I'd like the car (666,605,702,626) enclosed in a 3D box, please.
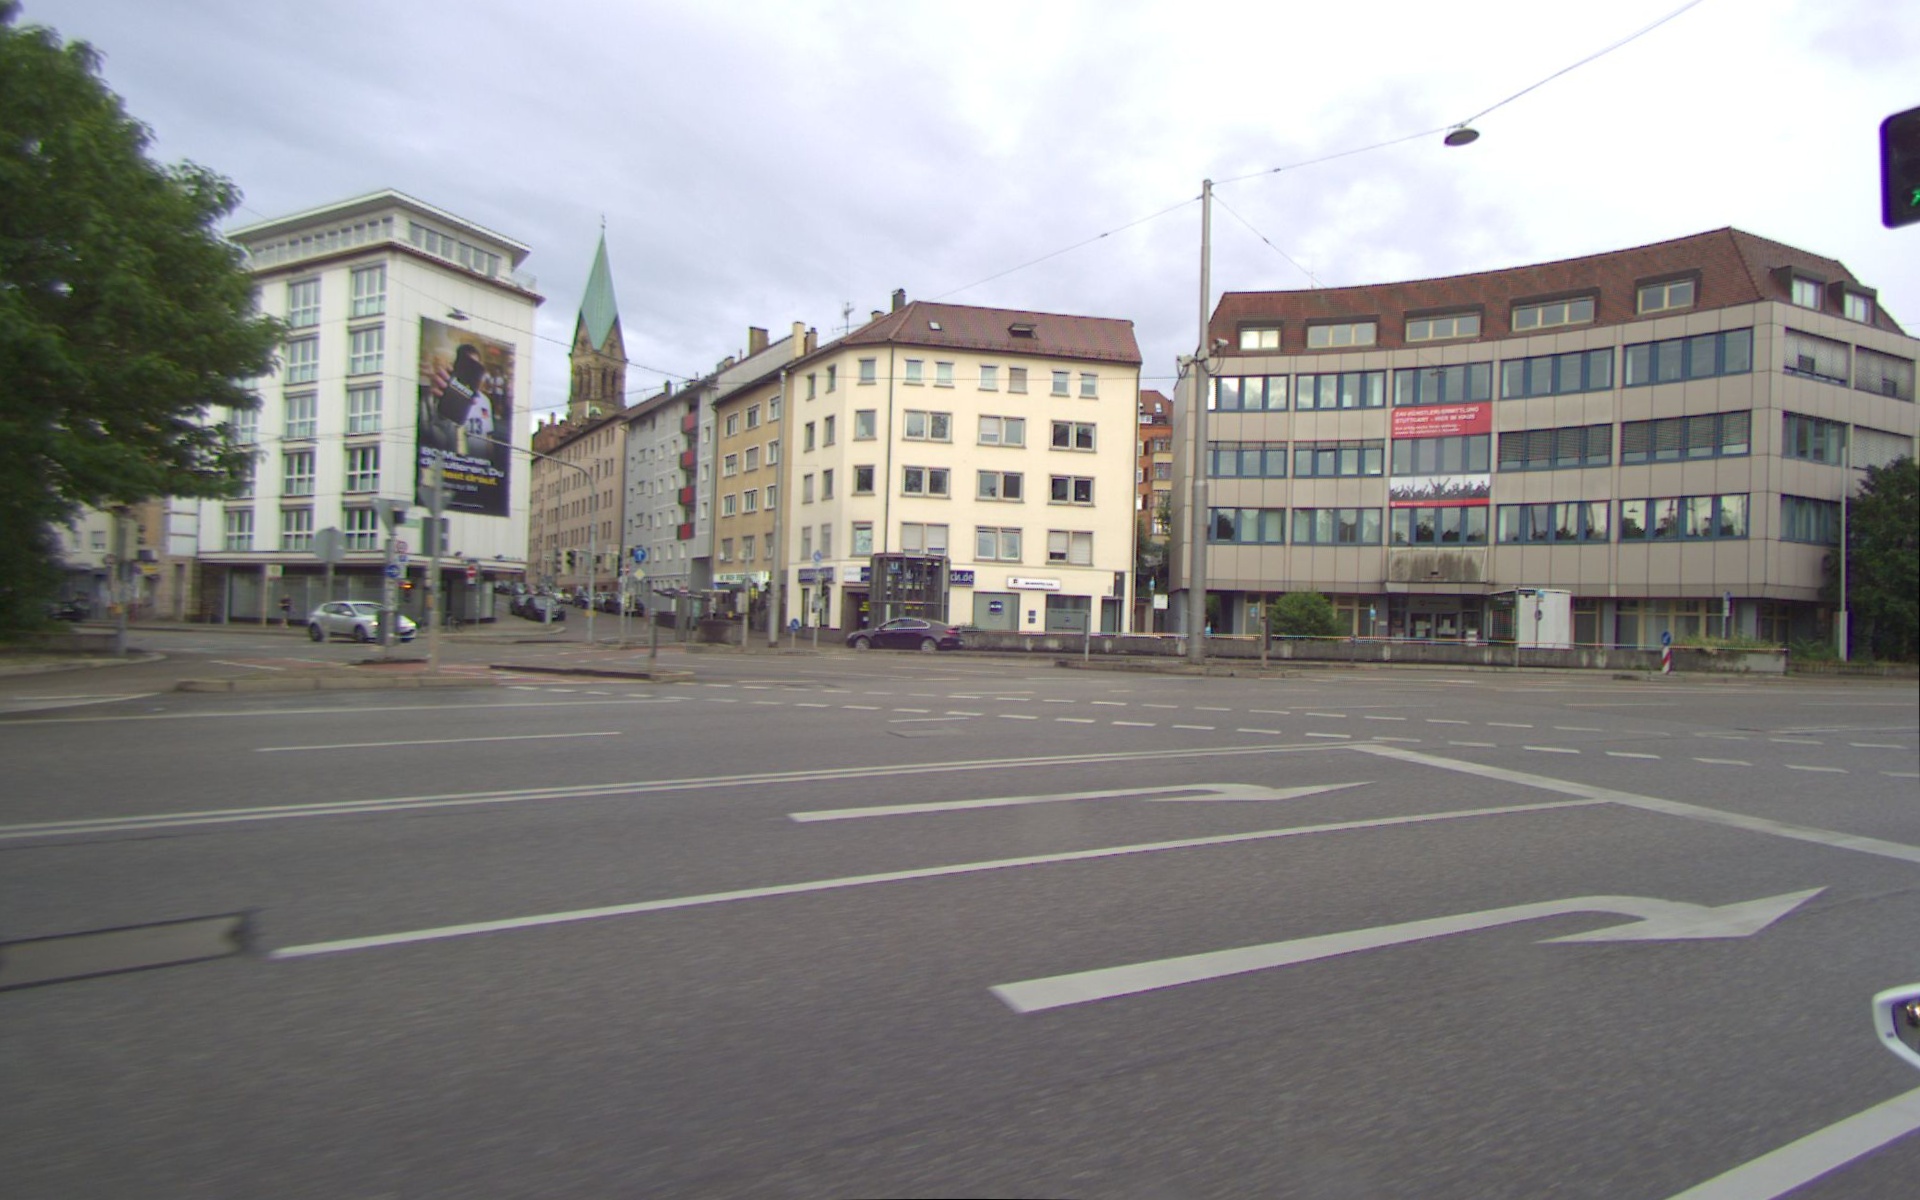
[{"bbox_3d":[-17.473,0.979,63.494,1.389,1.246,3.138,3,-2,-31],"label":"car"}]

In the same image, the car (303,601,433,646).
[{"bbox_3d":[-20.968,0.842,35.562,4.150,1.470,1.999,1,-2,27],"label":"car"}]

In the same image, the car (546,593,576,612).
[{"bbox_3d":[-36.145,0.234,90.895,1.897,1.612,3.967,3,0,-31],"label":"car"}]

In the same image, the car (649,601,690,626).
[{"bbox_3d":[-19.932,0.927,68.873,1.741,1.611,3.766,3,-2,-31],"label":"car"}]

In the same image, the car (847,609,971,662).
[{"bbox_3d":[-1.951,1.373,39.076,4.351,1.867,2.001,1,-2,16],"label":"car"}]

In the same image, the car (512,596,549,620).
[{"bbox_3d":[-30.502,0.577,71.245,1.897,1.611,3.967,3,-2,-31],"label":"car"}]

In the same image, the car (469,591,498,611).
[{"bbox_3d":[-41.100,0.095,86.585,1.897,1.611,3.967,3,-1,-31],"label":"car"}]

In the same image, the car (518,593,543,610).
[{"bbox_3d":[-44.160,0.110,103.259,1.897,1.612,3.967,3,0,-31],"label":"car"}]

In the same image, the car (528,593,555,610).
[{"bbox_3d":[-41.239,0.127,99.012,1.897,1.612,3.967,3,0,-31],"label":"car"}]

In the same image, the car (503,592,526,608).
[{"bbox_3d":[-48.940,-0.016,110.341,1.897,1.612,3.967,3,0,-31],"label":"car"}]

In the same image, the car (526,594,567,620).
[{"bbox_3d":[-27.208,0.467,65.971,1.897,1.611,3.967,3,-2,-31],"label":"car"}]

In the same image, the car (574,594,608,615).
[{"bbox_3d":[-30.342,0.342,82.621,1.897,1.611,3.967,3,-1,-31],"label":"car"}]

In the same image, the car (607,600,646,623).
[{"bbox_3d":[-24.498,0.871,73.776,1.897,1.611,3.967,3,-2,-31],"label":"car"}]

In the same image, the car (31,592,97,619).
[{"bbox_3d":[-56.515,0.351,63.336,3.928,1.598,1.873,0,-2,29],"label":"car"}]

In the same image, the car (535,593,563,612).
[{"bbox_3d":[-38.911,0.212,94.995,1.897,1.612,3.967,3,0,-31],"label":"car"}]
